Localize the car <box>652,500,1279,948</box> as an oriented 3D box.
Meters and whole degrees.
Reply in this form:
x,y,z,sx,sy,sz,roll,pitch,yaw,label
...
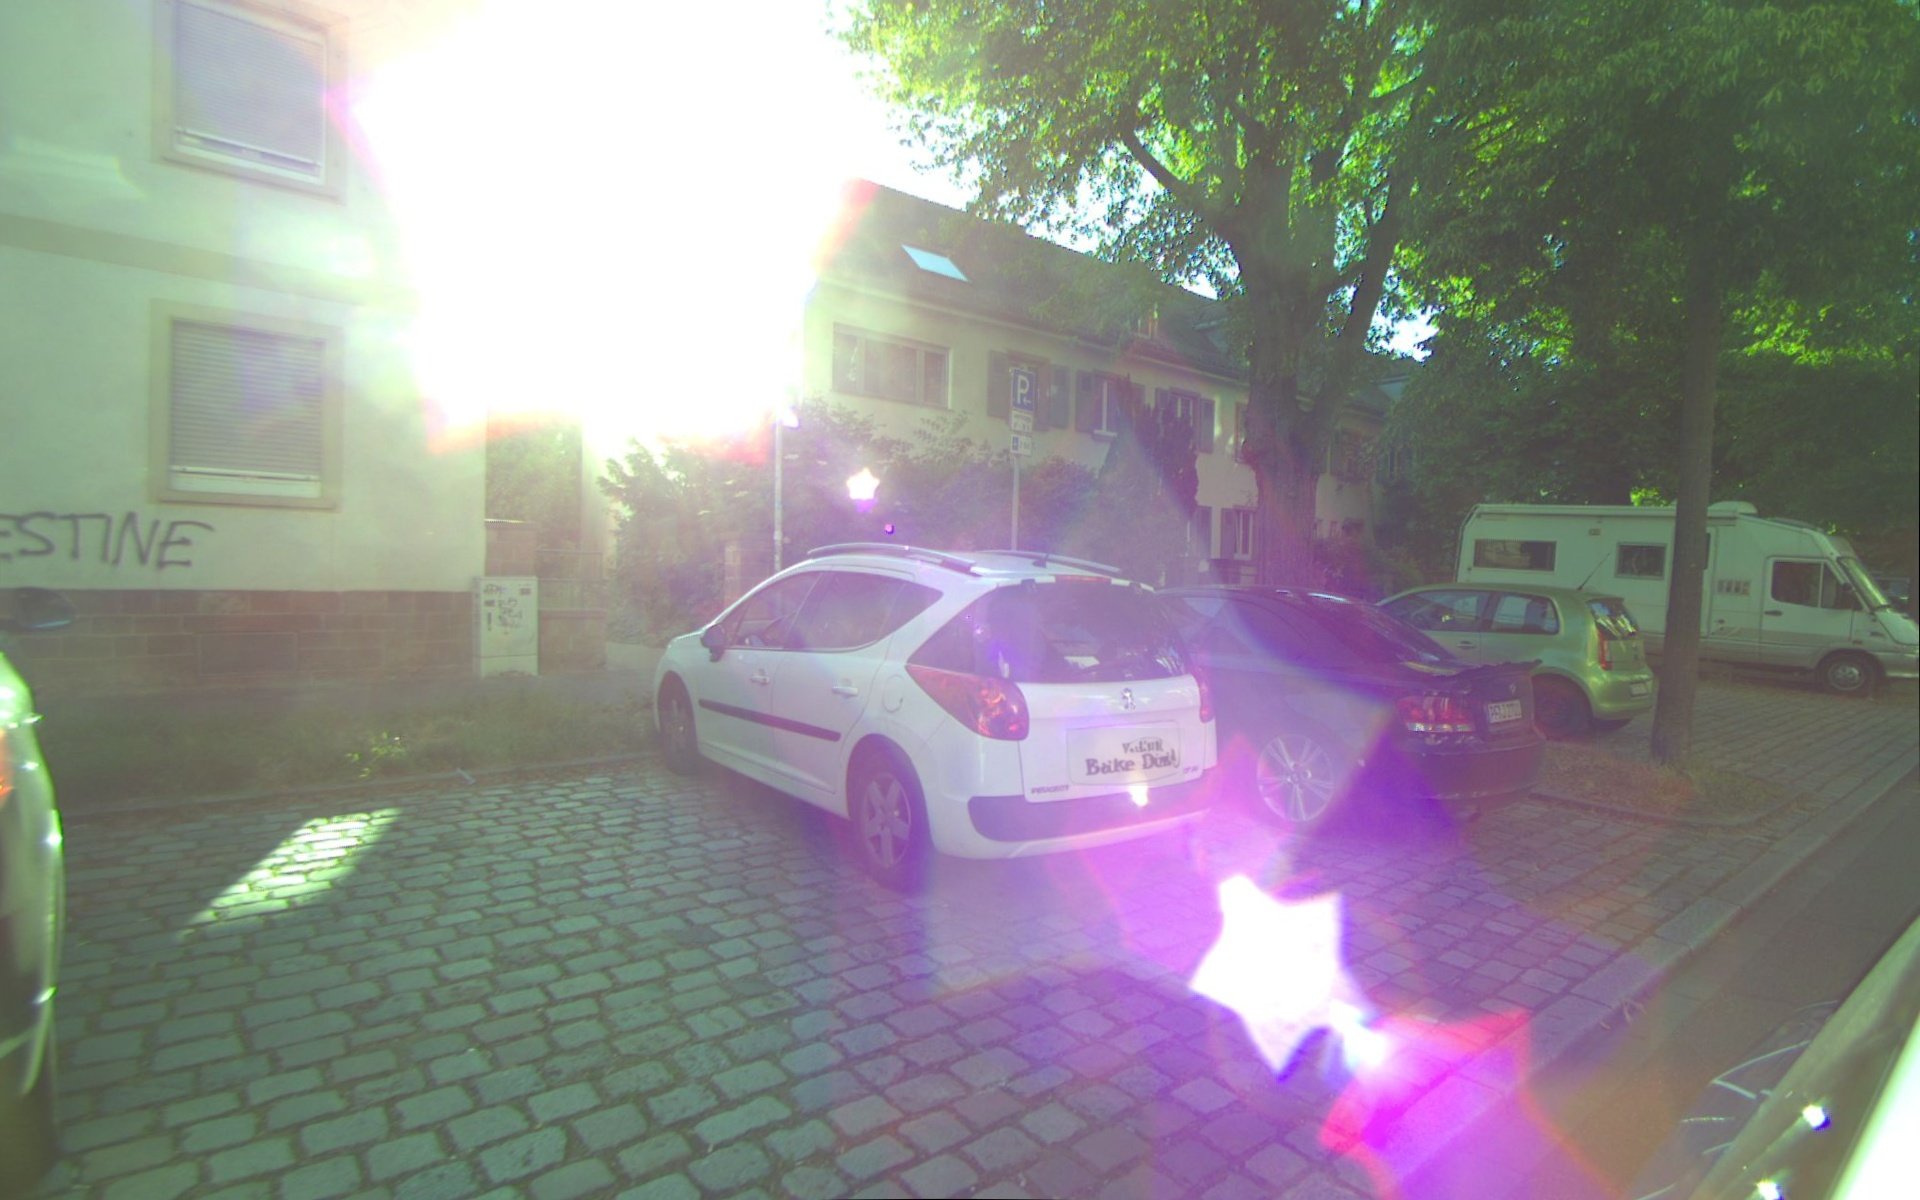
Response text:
x,y,z,sx,sy,sz,roll,pitch,yaw,label
-0.279,0.399,5.762,1.672,1.671,3.705,0,2,-37,car

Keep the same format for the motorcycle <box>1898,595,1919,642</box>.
x,y,z,sx,sy,sz,roll,pitch,yaw,label
25.234,0.507,25.979,0.725,1.212,1.774,1,2,5,motorcycle

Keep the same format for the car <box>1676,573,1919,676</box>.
x,y,z,sx,sy,sz,roll,pitch,yaw,label
17.109,0.398,20.351,1.868,1.617,3.976,-1,5,-37,car

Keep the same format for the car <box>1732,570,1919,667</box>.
x,y,z,sx,sy,sz,roll,pitch,yaw,label
19.095,0.362,21.509,1.699,1.765,3.925,-1,5,-40,car

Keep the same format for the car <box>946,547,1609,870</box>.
x,y,z,sx,sy,sz,roll,pitch,yaw,label
1.894,0.455,7.131,1.760,1.428,4.116,0,5,-40,car

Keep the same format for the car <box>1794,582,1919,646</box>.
x,y,z,sx,sy,sz,roll,pitch,yaw,label
26.818,0.409,28.913,1.895,1.627,4.342,-1,4,-41,car

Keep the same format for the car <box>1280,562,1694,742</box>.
x,y,z,sx,sy,sz,roll,pitch,yaw,label
5.564,0.425,11.024,1.647,1.524,3.598,1,2,-39,car

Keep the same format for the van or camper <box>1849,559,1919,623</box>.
x,y,z,sx,sy,sz,roll,pitch,yaw,label
46.077,-0.389,46.741,2.385,2.939,7.264,-1,3,-40,van or camper

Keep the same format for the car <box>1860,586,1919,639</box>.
x,y,z,sx,sy,sz,roll,pitch,yaw,label
29.288,0.419,30.140,1.664,1.493,3.456,0,3,-40,car

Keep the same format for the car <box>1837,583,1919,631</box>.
x,y,z,sx,sy,sz,roll,pitch,yaw,label
33.283,0.297,34.768,1.721,1.495,4.471,0,4,-39,car

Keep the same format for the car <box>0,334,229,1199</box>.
x,y,z,sx,sy,sz,roll,pitch,yaw,label
-3.429,0.337,2.534,1.991,1.734,4.110,1,2,-44,car

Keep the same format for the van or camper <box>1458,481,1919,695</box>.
x,y,z,sx,sy,sz,roll,pitch,yaw,label
12.900,-0.288,17.713,2.423,3.115,7.087,0,2,-42,van or camper
